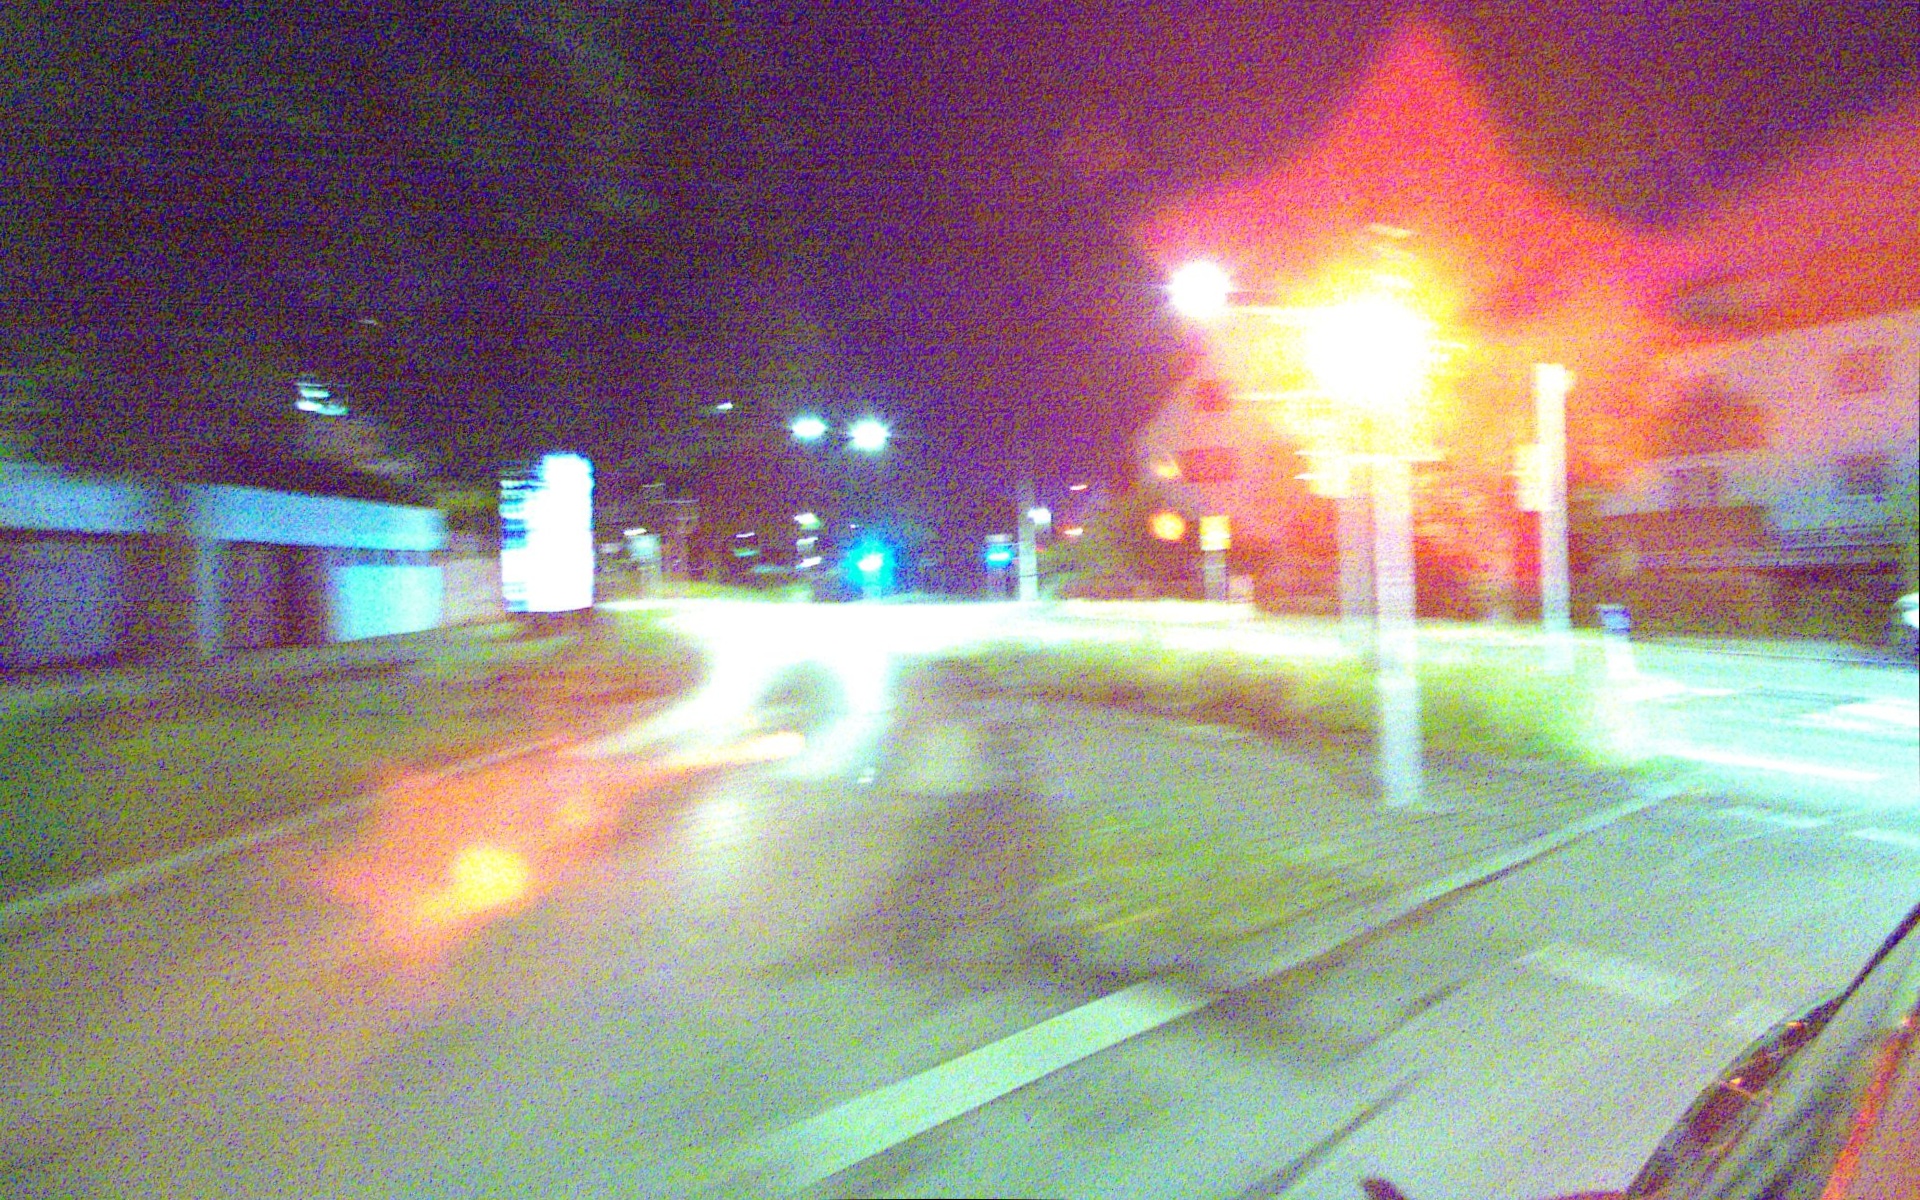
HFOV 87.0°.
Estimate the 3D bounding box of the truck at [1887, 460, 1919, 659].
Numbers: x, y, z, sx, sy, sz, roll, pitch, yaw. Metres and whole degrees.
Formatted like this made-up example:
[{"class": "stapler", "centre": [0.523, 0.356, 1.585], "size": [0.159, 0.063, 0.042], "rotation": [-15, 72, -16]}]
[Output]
[{"class": "truck", "centre": [17.836, -0.631, 13.984], "size": [2.723, 3.080, 7.035], "rotation": [-4, 4, -36]}]
